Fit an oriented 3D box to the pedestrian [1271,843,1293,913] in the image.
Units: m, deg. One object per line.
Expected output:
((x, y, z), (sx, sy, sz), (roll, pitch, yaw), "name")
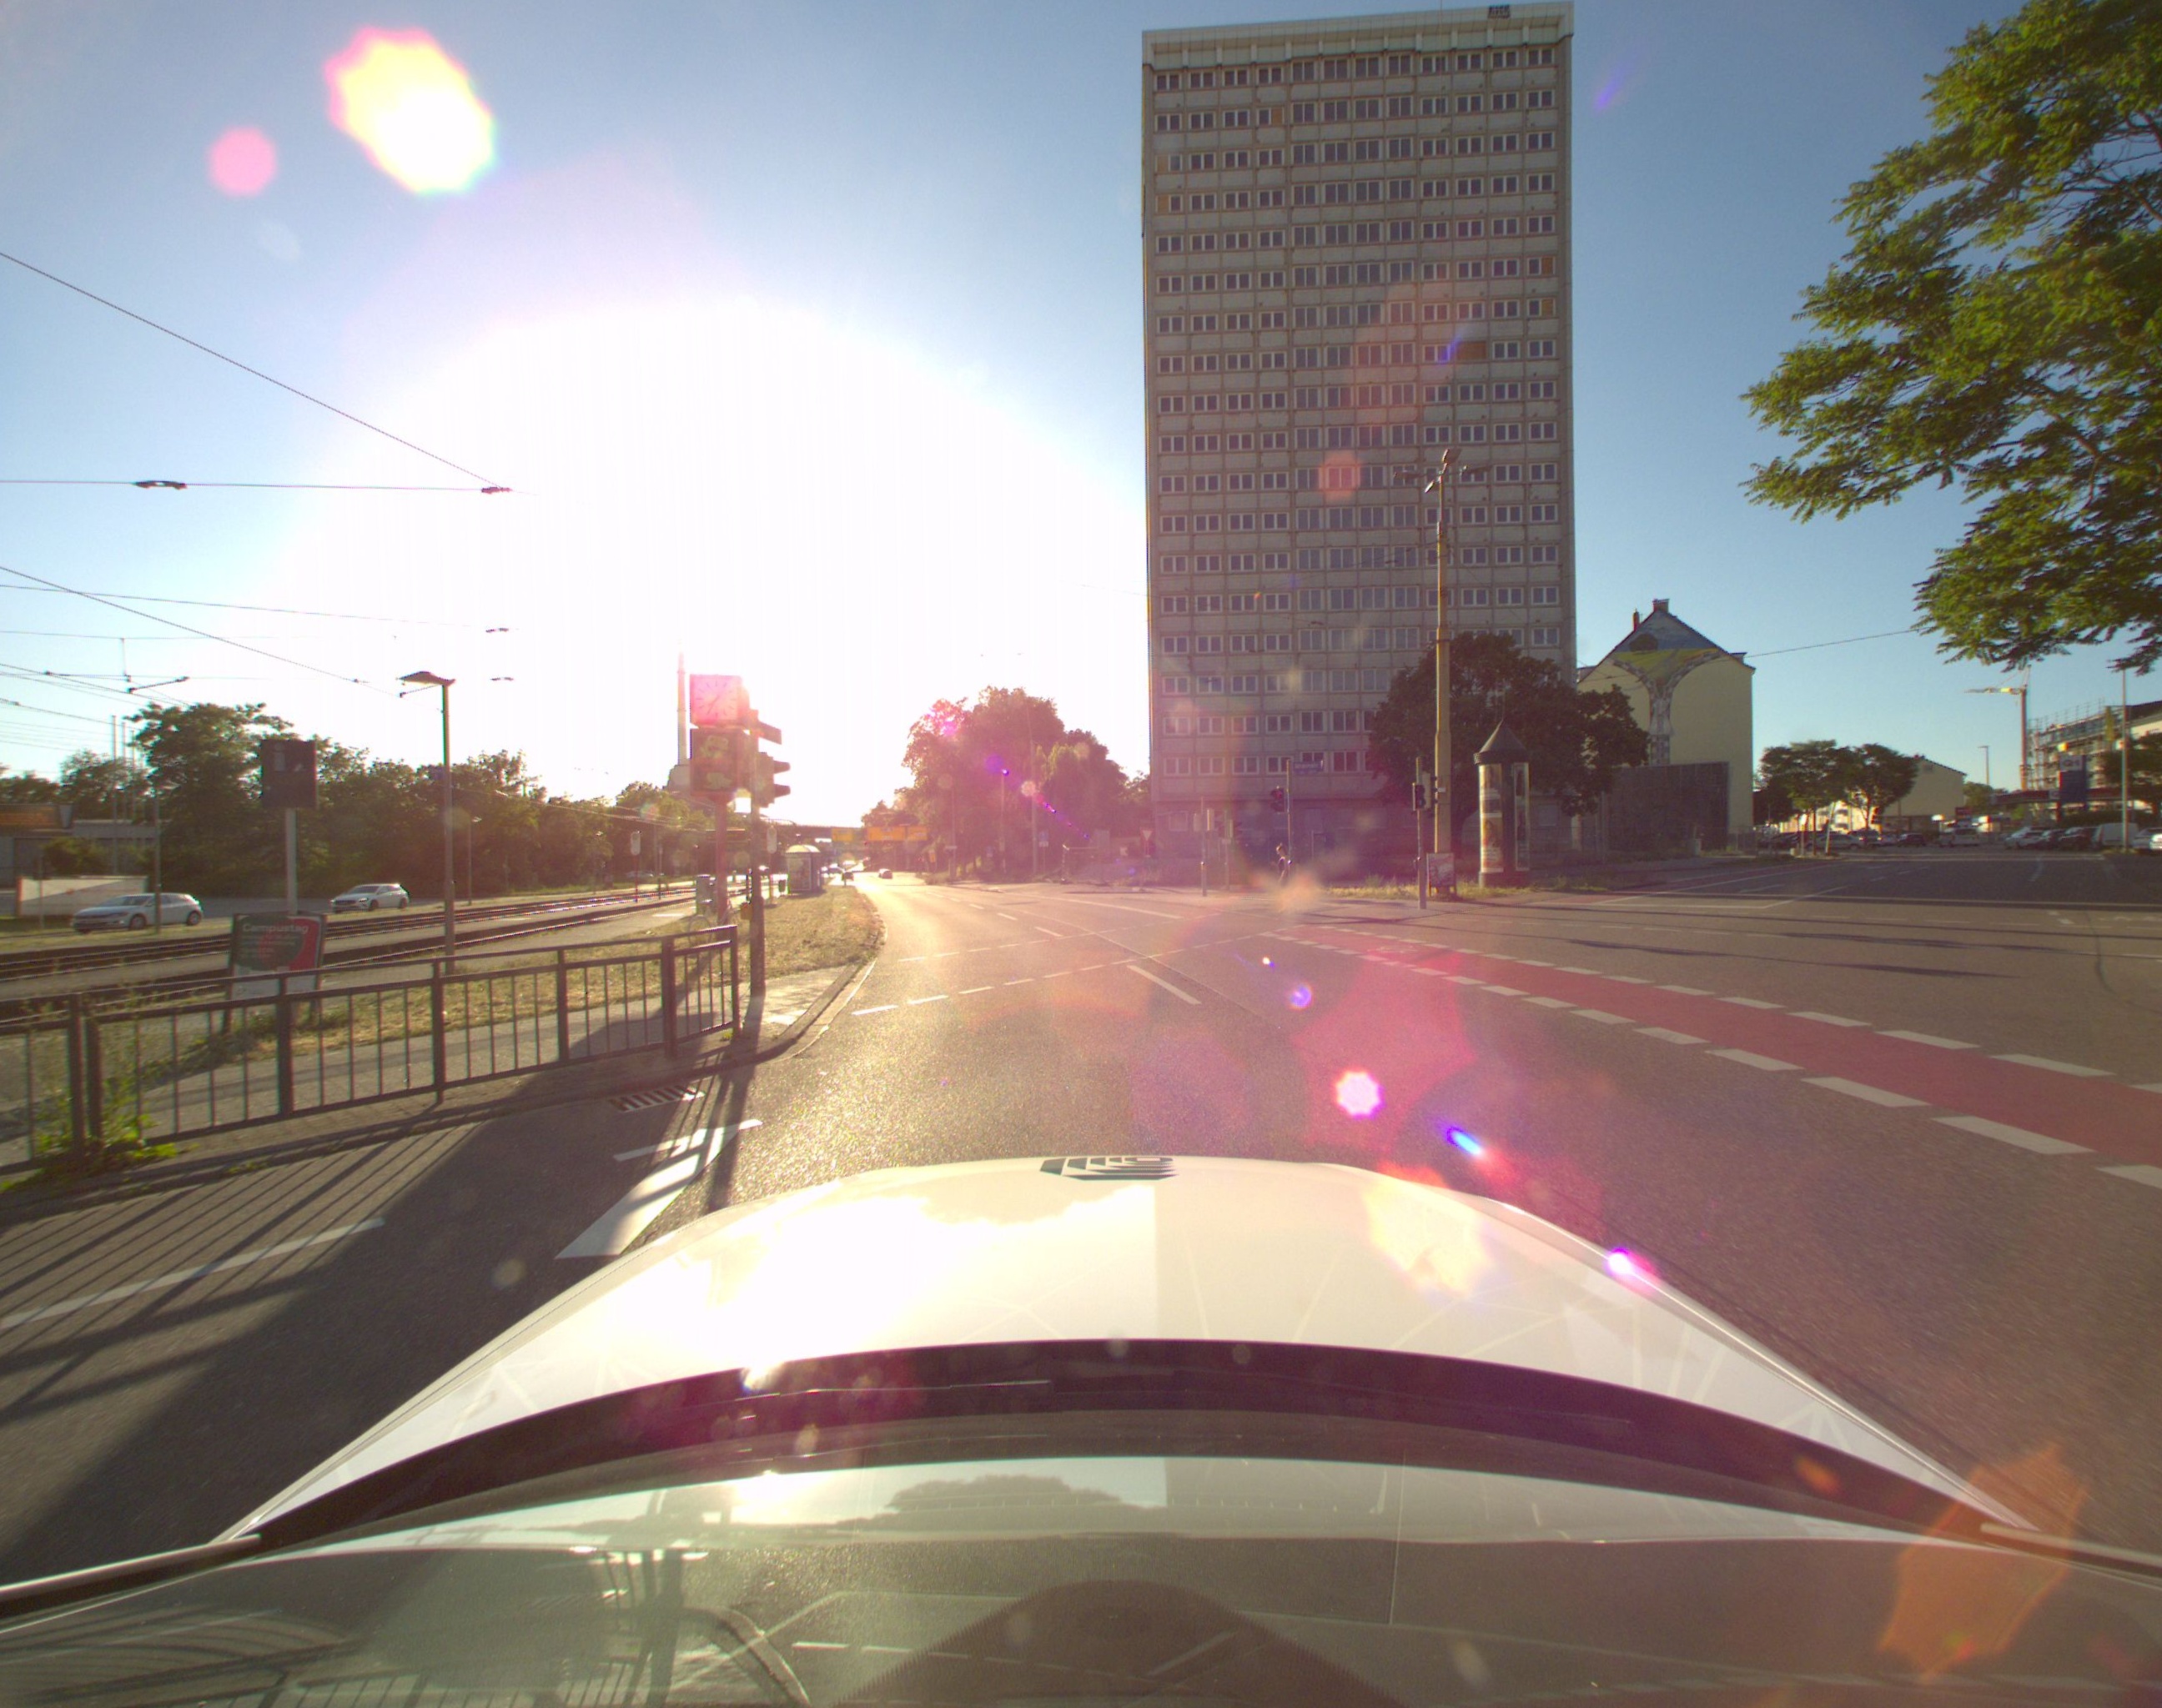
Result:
((4.713, 0.559, 19.112), (0.433, 1.612, 0.632), (-2, 0, 15), "pedestrian")

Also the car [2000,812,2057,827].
((110.739, -3.995, 95.232), (4.008, 1.458, 1.892), (-2, 0, 38), "car")

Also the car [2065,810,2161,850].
((55.821, -1.272, 43.223), (4.182, 2.013, 2.008), (-2, 0, 14), "car")

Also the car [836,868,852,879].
((-35.190, 2.864, 121.168), (2.041, 1.446, 3.981), (-2, 0, -14), "car")

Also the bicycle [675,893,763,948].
((-7.230, 1.312, 16.344), (0.549, 0.918, 1.751), (-3, 0, 17), "bicycle")

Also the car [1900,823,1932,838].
((96.595, -2.701, 94.201), (1.910, 1.543, 4.026), (-2, 0, 37), "car")

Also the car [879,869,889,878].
((-32.411, 3.229, 133.995), (1.516, 1.387, 3.348), (-1, 1, -13), "car")

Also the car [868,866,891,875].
((-48.129, 3.935, 194.480), (4.825, 2.013, 2.002), (-1, 1, 4), "car")

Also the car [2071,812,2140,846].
((64.586, -1.569, 51.418), (1.974, 2.013, 4.025), (-2, 0, 41), "car")

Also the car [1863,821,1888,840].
((85.143, -2.529, 87.305), (1.841, 1.904, 4.024), (-2, 0, 43), "car")

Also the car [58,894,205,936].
((-37.747, 2.373, 32.542), (1.803, 1.367, 3.947), (-2, -1, -13), "car")

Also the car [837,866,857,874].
((-48.779, 3.392, 169.990), (3.995, 1.446, 1.764), (-2, 0, -16), "car")

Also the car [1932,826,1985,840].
((105.835, -2.525, 98.290), (4.008, 1.458, 1.892), (-2, 0, 38), "car")

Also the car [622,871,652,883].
((-72.896, 3.824, 133.623), (4.021, 1.750, 1.976), (-2, 0, -41), "car")

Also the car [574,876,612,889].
((-77.226, 4.497, 128.801), (4.816, 1.843, 1.976), (-3, 1, -41), "car")

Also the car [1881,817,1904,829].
((109.218, -4.175, 109.648), (1.841, 1.543, 3.903), (-2, 0, 40), "car")

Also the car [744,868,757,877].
((-75.598, 4.136, 186.424), (1.996, 2.014, 3.982), (-2, -1, -13), "car")

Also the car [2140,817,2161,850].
((51.959, -1.019, 37.115), (4.178, 1.563, 1.788), (-2, 0, 18), "car")

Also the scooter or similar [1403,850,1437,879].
((14.513, 0.441, 34.885), (1.290, 1.170, 0.327), (-2, 0, 6), "scooter or similar")

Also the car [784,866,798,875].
((-66.776, 3.749, 187.636), (1.993, 2.013, 4.848), (-2, 0, -8), "car")

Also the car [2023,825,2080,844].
((71.794, -1.431, 60.305), (1.865, 1.385, 4.026), (0, 1, 37), "car")

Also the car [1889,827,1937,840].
((105.372, -2.547, 103.244), (4.008, 1.458, 1.892), (-2, 0, 38), "car")

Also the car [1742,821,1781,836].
((92.700, -3.460, 110.933), (3.948, 1.904, 1.877), (-2, 0, 40), "car")

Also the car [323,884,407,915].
((-40.637, 2.538, 46.335), (1.658, 1.532, 4.371), (-2, -1, -13), "car")

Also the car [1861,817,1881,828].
((117.472, -4.698, 121.135), (1.841, 1.543, 4.025), (-2, 0, 40), "car")

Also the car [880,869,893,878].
((-33.595, 3.315, 140.827), (2.041, 1.446, 3.980), (-2, 0, -14), "car")

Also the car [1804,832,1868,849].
((62.018, -1.119, 66.963), (3.665, 1.301, 1.521), (-2, 0, 35), "car")

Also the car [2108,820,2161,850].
((53.786, -0.976, 39.895), (3.959, 1.426, 1.910), (-2, -1, 13), "car")

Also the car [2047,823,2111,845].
((68.427, -1.366, 55.916), (1.894, 1.385, 4.001), (0, 1, 37), "car")

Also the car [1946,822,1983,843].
((85.709, -2.125, 79.024), (1.841, 1.904, 4.025), (-2, 0, 39), "car")

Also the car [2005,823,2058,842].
((75.218, -1.689, 64.489), (1.809, 1.385, 4.026), (0, 1, 35), "car")
